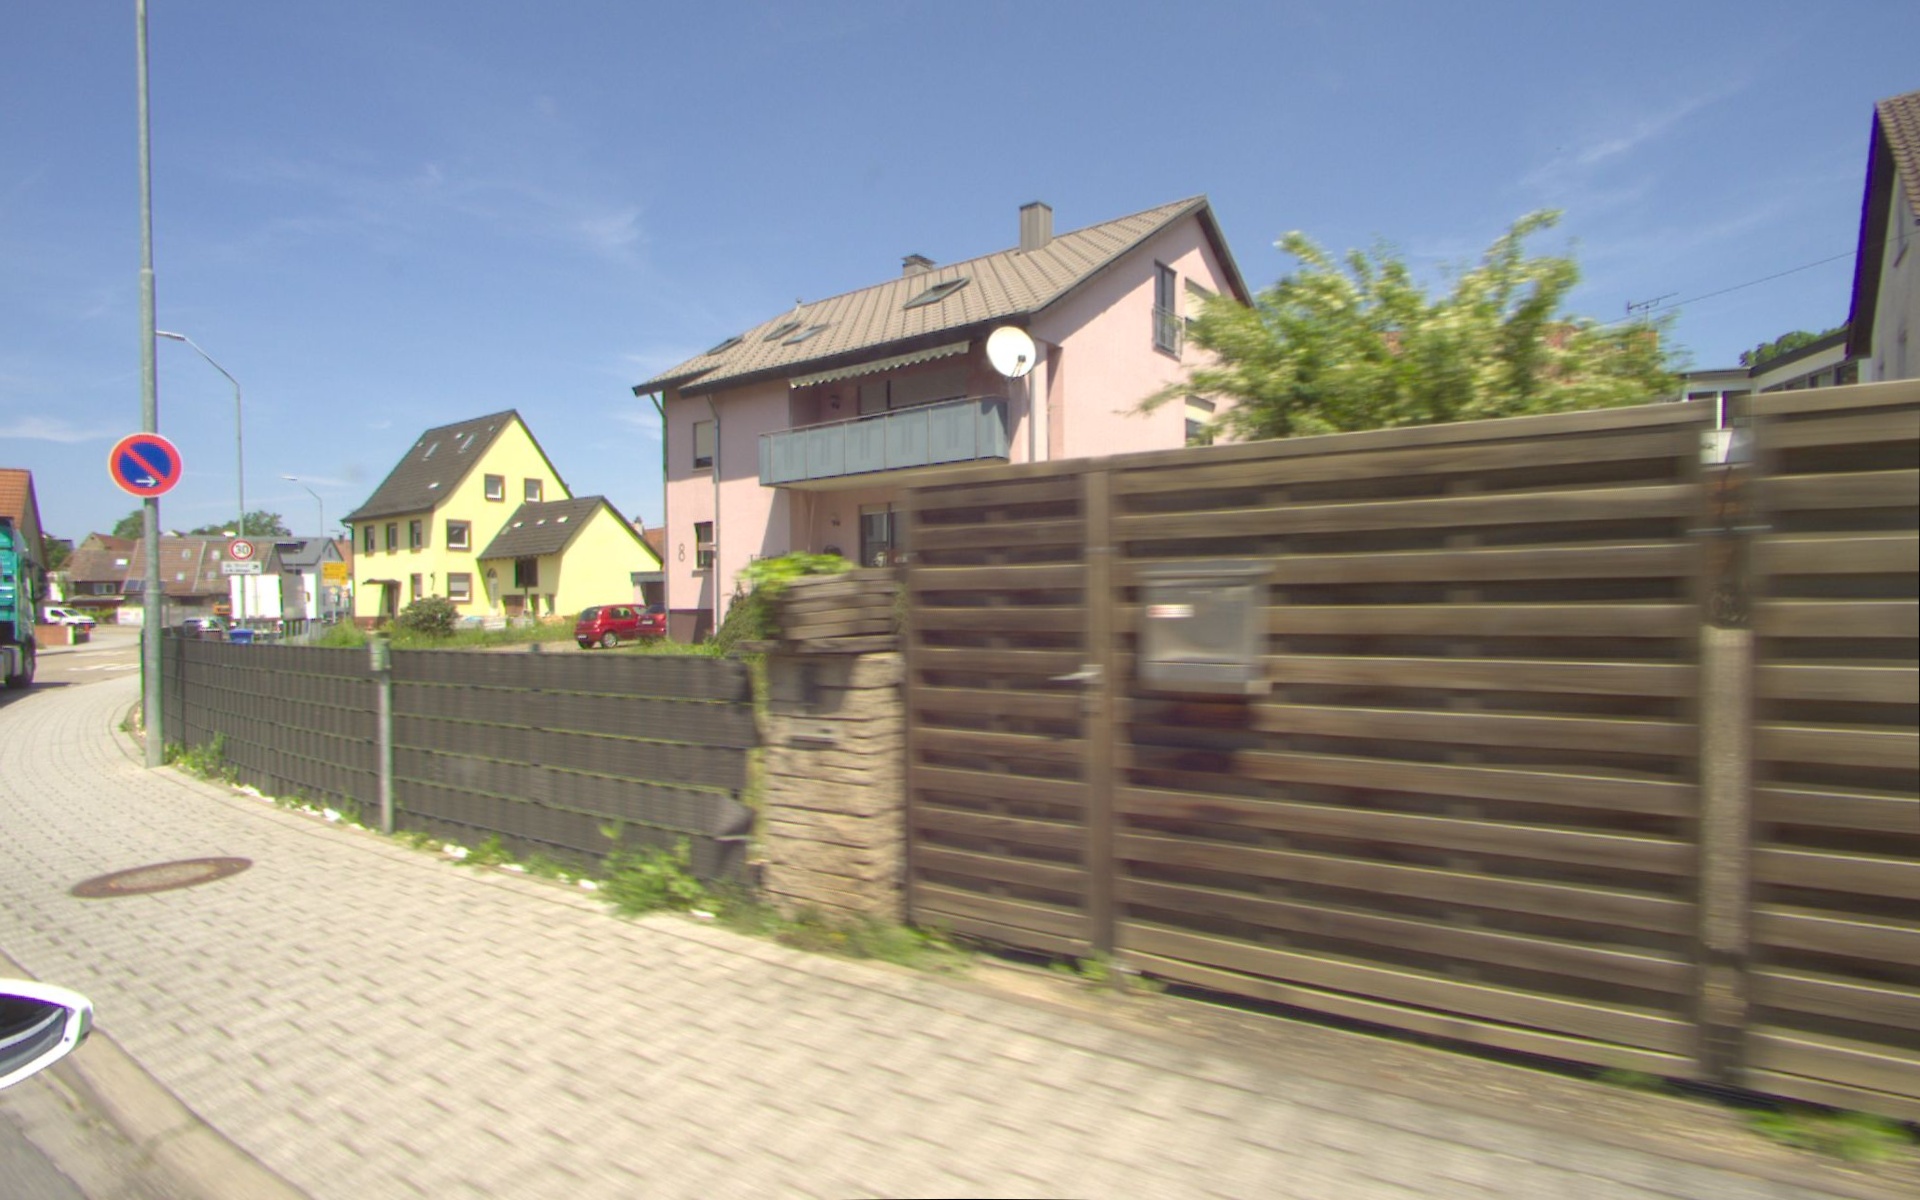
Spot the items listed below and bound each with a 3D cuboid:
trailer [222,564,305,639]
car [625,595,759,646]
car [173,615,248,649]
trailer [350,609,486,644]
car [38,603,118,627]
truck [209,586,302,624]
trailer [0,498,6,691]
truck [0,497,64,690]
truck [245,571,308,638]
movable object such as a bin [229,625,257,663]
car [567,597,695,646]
[{"bbox_3d":[-44.314,0.191,64.088,3.096,4.332,12.434,0,-1,-29],"label":"trailer"},{"bbox_3d":[-8.804,0.678,33.205,1.826,1.568,4.101,-1,-1,35],"label":"car"},{"bbox_3d":[-34.130,1.432,45.693,1.818,1.505,3.988,0,-1,-23],"label":"car"},{"bbox_3d":[-25.553,1.261,47.439,2.108,1.566,5.335,0,-1,33],"label":"trailer"},{"bbox_3d":[-69.189,1.166,78.634,4.435,1.809,1.878,1,1,-6],"label":"car"},{"bbox_3d":[-64.723,0.503,92.205,2.618,3.221,7.465,0,-2,8],"label":"truck"},{"bbox_3d":[-17.965,-0.212,16.012,2.928,3.999,11.525,0,-1,-39],"label":"trailer"},{"bbox_3d":[-22.714,-0.100,22.476,2.957,4.017,5.546,0,-1,-32],"label":"truck"},{"bbox_3d":[-47.604,0.342,69.931,3.069,4.458,5.906,0,-1,-29],"label":"truck"},{"bbox_3d":[-20.766,1.272,28.994,0.561,1.071,0.645,-1,0,-43],"label":"movable object such as a bin"},{"bbox_3d":[-11.185,0.708,34.182,1.740,1.506,3.808,-1,1,39],"label":"car"}]
